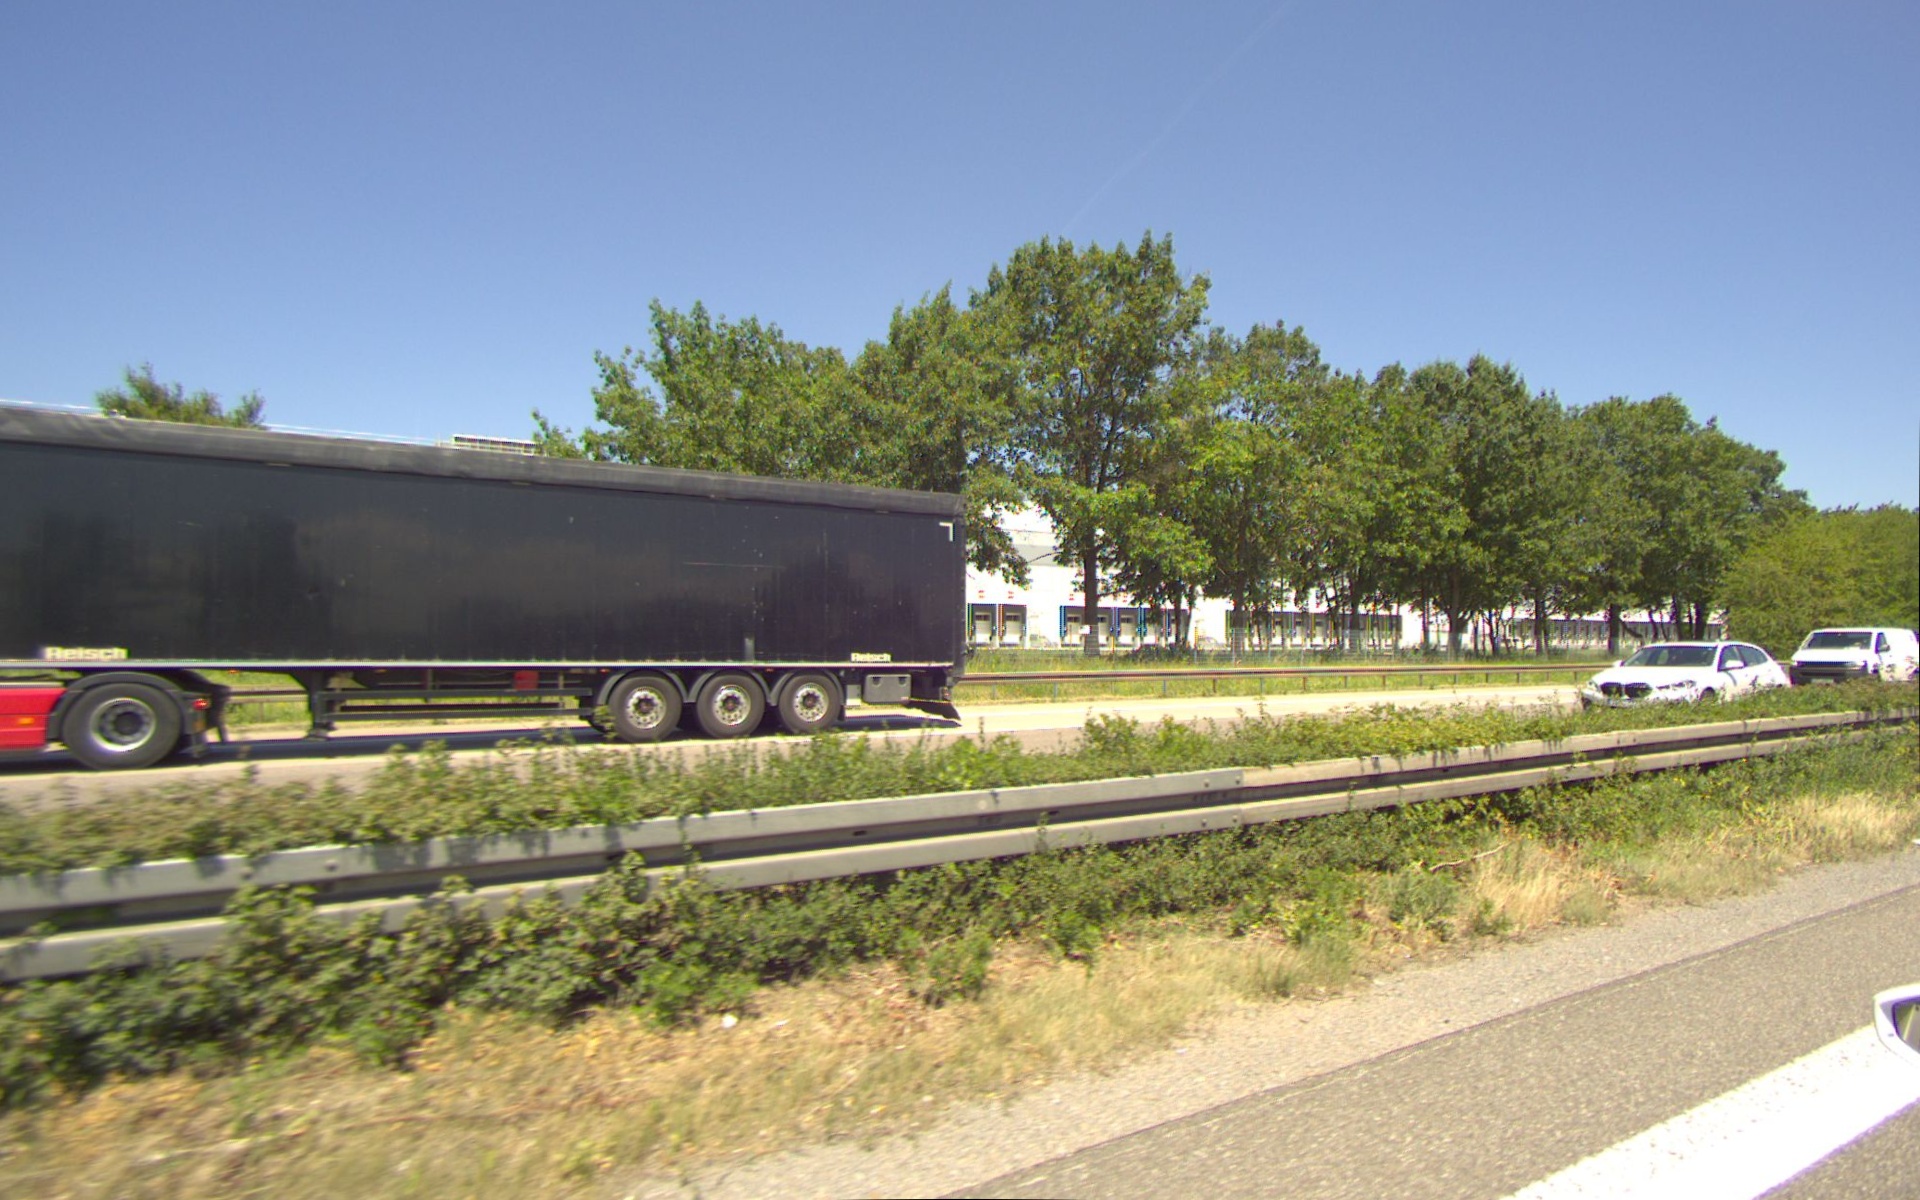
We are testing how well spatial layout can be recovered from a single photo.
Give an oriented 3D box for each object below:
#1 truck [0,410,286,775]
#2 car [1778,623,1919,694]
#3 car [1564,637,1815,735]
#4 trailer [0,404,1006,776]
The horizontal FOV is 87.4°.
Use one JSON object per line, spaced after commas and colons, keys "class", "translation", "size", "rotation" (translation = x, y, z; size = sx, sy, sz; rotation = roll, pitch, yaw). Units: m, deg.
{"class": "truck", "translation": [-11.981, -0.013, 12.033], "size": [6.147, 3.982, 3.424], "rotation": [1, -3, -30]}
{"class": "car", "translation": [26.693, 1.705, 29.940], "size": [5.154, 1.937, 1.985], "rotation": [1, -3, -32]}
{"class": "car", "translation": [13.127, 1.453, 18.011], "size": [4.812, 1.549, 1.911], "rotation": [1, -3, -31]}
{"class": "trailer", "translation": [-6.115, 0.085, 15.514], "size": [14.036, 4.063, 3.432], "rotation": [1, -3, -30]}
